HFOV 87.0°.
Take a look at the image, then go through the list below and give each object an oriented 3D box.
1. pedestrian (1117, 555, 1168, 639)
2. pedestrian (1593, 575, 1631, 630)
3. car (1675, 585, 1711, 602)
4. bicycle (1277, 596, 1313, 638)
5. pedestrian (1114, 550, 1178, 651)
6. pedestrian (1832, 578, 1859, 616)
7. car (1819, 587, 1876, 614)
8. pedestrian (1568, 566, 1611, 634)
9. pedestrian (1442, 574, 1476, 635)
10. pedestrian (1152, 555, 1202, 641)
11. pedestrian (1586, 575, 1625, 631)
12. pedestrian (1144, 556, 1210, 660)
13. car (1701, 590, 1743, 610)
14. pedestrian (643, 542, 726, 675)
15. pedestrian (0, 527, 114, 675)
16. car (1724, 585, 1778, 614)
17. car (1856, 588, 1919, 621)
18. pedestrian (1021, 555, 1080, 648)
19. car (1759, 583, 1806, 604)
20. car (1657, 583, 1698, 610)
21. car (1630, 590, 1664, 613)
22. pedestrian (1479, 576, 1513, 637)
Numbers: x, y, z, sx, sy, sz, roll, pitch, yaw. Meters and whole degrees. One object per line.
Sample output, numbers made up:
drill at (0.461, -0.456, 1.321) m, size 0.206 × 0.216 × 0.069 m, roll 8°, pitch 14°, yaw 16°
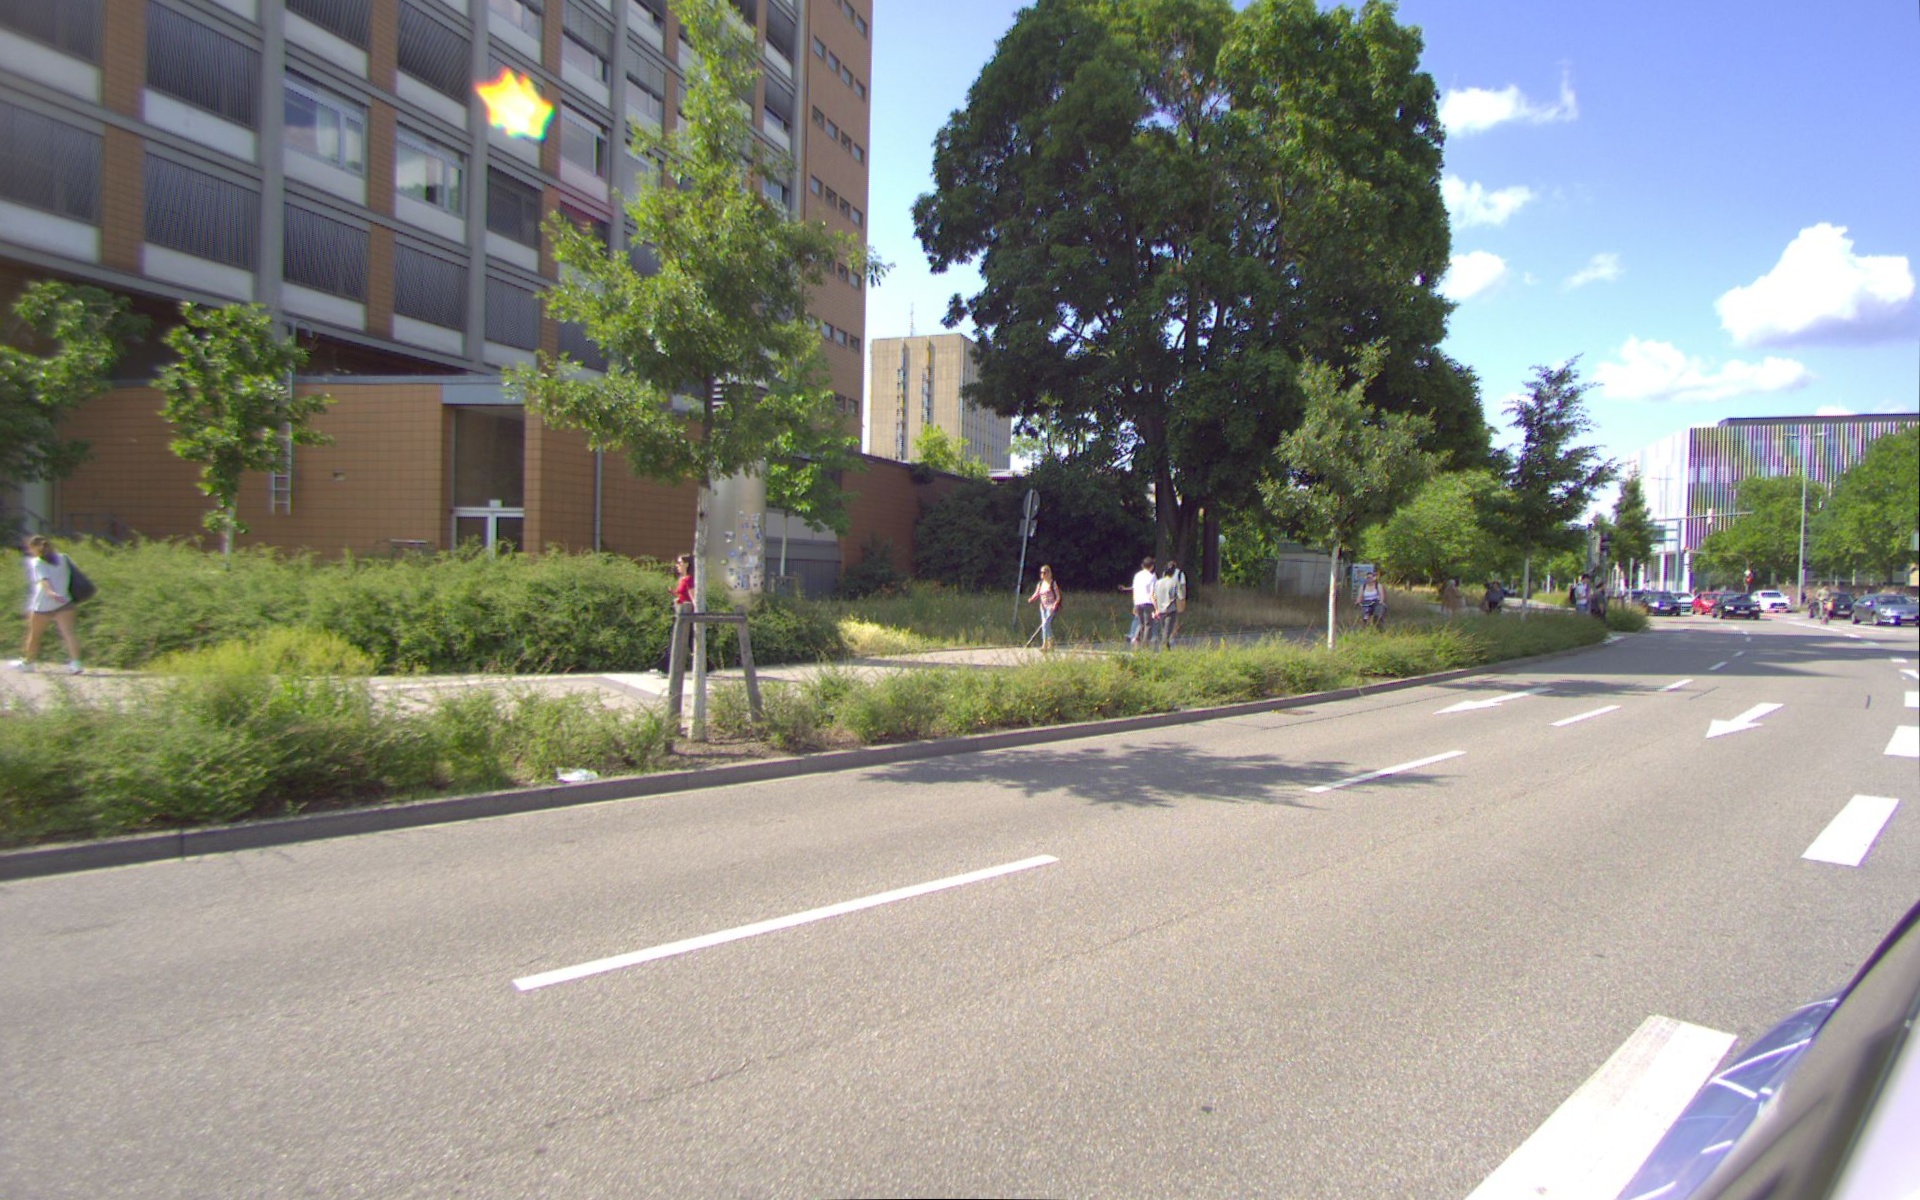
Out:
pedestrian at (3.884, -0.082, 21.522) m, size 0.614 × 1.720 × 0.876 m, roll 5°, pitch 4°, yaw 41°
pedestrian at (21.377, 0.065, 33.174) m, size 0.925 × 1.756 × 0.756 m, roll 0°, pitch 0°, yaw 45°
car at (51.434, -0.489, 71.089) m, size 1.897 × 1.148 × 4.052 m, roll 2°, pitch 2°, yaw 34°
bicycle at (7.944, 0.393, 23.967) m, size 0.642 × 0.891 × 1.808 m, roll 2°, pitch 2°, yaw 23°
pedestrian at (3.430, -0.011, 18.682) m, size 0.742 × 1.767 × 0.876 m, roll 5°, pitch 4°, yaw 41°
pedestrian at (41.821, -0.145, 47.816) m, size 0.731 × 1.736 × 0.868 m, roll 0°, pitch 0°, yaw 24°
car at (48.216, 0.005, 55.050) m, size 1.720 × 1.351 × 3.746 m, roll 0°, pitch 1°, yaw 32°
pedestrian at (19.119, -0.010, 30.748) m, size 0.962 × 2.039 × 0.756 m, roll 0°, pitch 0°, yaw 45°
pedestrian at (14.654, 0.112, 29.740) m, size 0.764 × 1.756 × 0.709 m, roll 0°, pitch 0°, yaw 39°
pedestrian at (4.535, -0.056, 21.145) m, size 0.614 × 1.720 × 0.876 m, roll 5°, pitch 4°, yaw 41°
pedestrian at (20.815, 0.088, 32.655) m, size 0.925 × 1.756 × 0.756 m, roll 0°, pitch 0°, yaw 45°
pedestrian at (3.877, 0.119, 18.090) m, size 0.742 × 1.775 × 0.877 m, roll 5°, pitch 4°, yaw 41°
car at (46.614, -0.004, 61.952) m, size 1.585 × 1.148 × 3.591 m, roll 1°, pitch 1°, yaw 30°
pedestrian at (-3.572, 0.094, 13.093) m, size 0.872 × 1.641 × 0.617 m, roll 0°, pitch 4°, yaw -30°
pedestrian at (-10.671, -0.013, 11.869) m, size 1.080 × 1.641 × 0.614 m, roll 3°, pitch 3°, yaw 13°
car at (42.617, -0.041, 54.600) m, size 1.813 × 1.481 × 3.955 m, roll 1°, pitch 1°, yaw 32°
car at (43.153, 0.170, 46.227) m, size 1.976 × 1.393 × 4.239 m, roll 0°, pitch 1°, yaw 22°
pedestrian at (1.669, 0.007, 18.580) m, size 0.614 × 1.641 × 0.876 m, roll 5°, pitch 4°, yaw 41°
car at (55.259, -0.442, 68.059) m, size 1.764 × 1.371 × 3.959 m, roll 0°, pitch 1°, yaw 30°
car at (42.259, -0.238, 59.667) m, size 1.815 × 1.481 × 3.951 m, roll 1°, pitch 1°, yaw 34°
car at (46.375, 0.095, 68.312) m, size 1.815 × 1.481 × 3.950 m, roll 1°, pitch 1°, yaw 35°
pedestrian at (15.641, 0.176, 29.540) m, size 0.764 × 1.756 × 0.709 m, roll 0°, pitch 0°, yaw 39°
